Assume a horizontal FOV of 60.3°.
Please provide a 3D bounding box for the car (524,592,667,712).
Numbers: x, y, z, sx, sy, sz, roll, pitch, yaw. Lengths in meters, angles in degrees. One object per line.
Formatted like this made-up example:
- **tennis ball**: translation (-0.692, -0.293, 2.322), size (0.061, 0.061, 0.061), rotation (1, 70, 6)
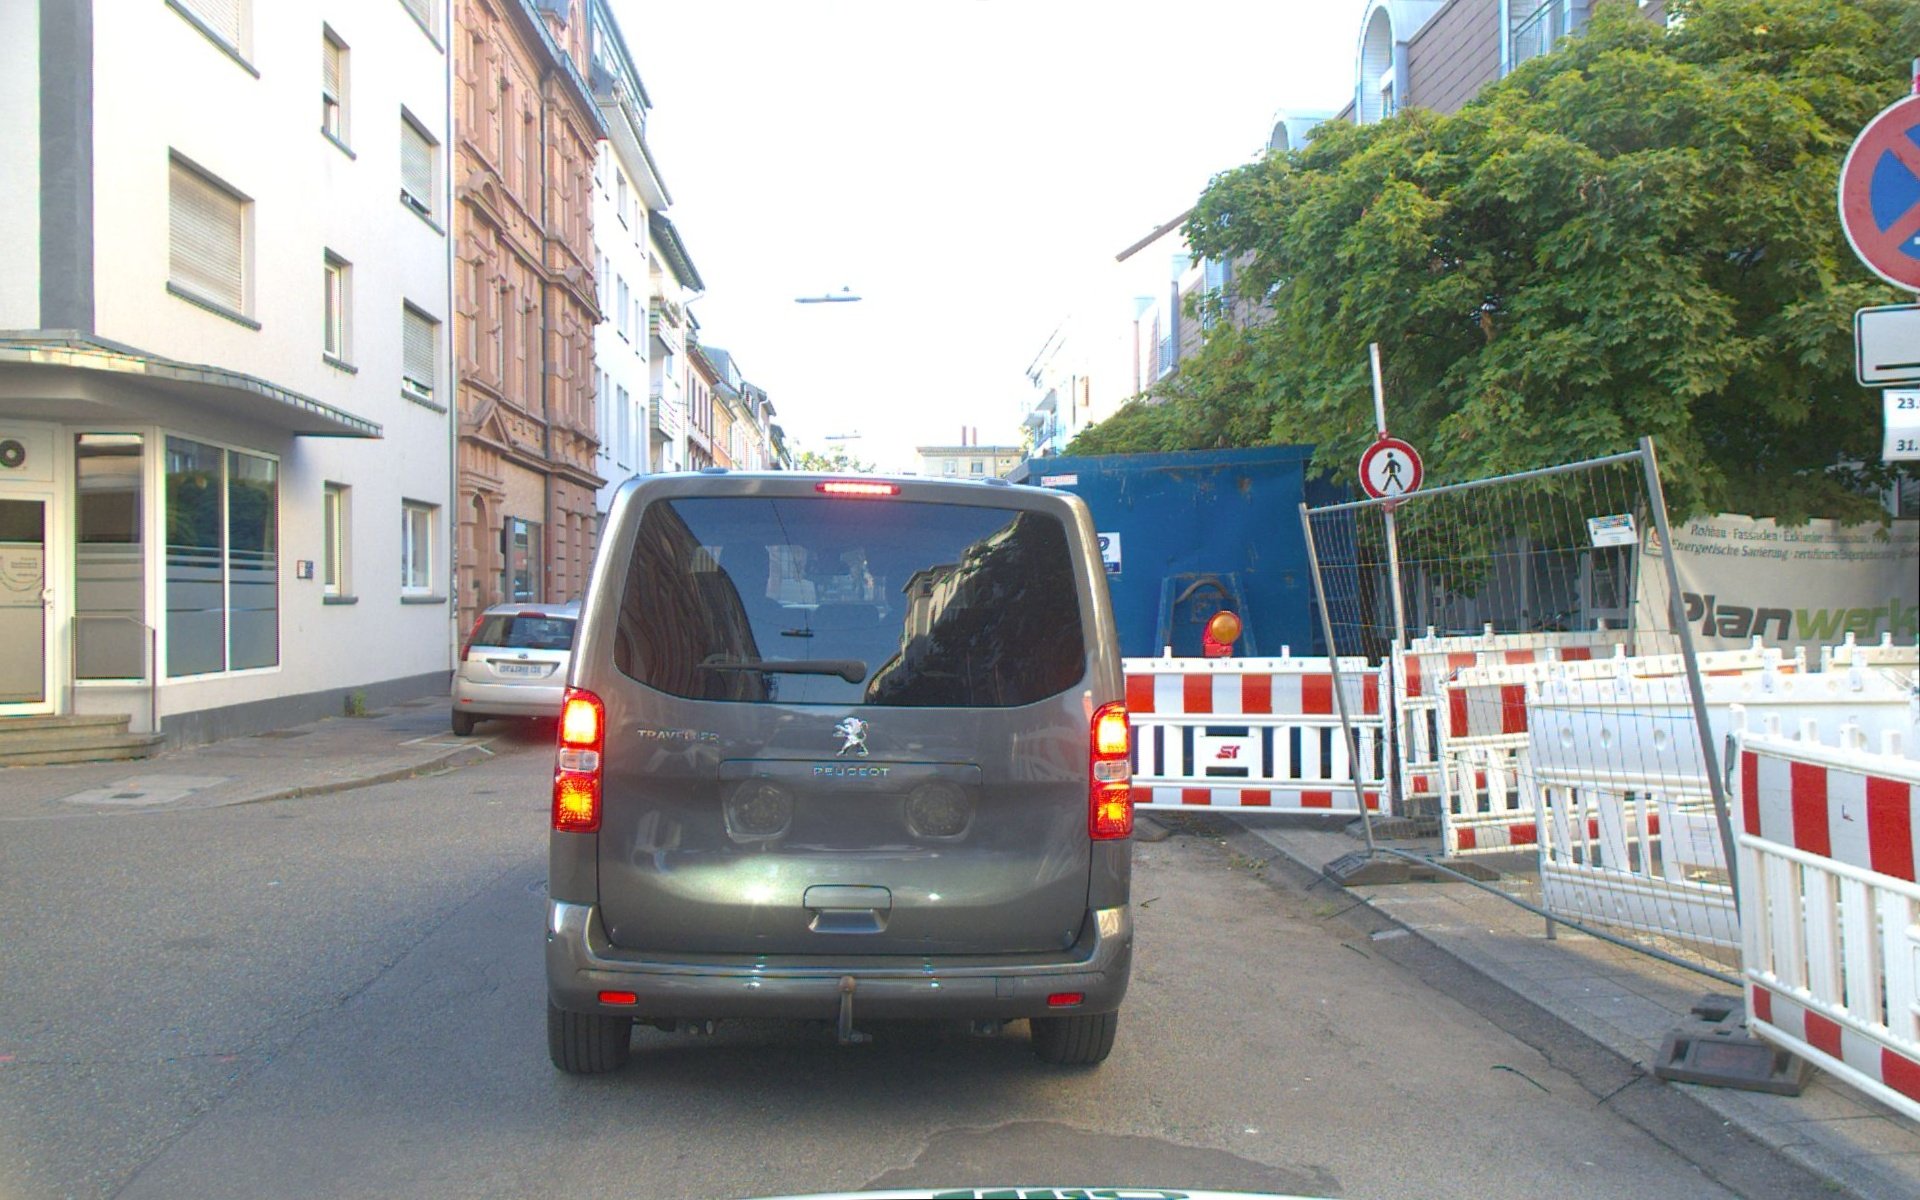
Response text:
- **car**: translation (-5.353, 0.735, 24.638), size (1.625, 1.552, 3.413), rotation (4, -1, -7)

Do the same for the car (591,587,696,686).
- **car**: translation (-6.024, 0.683, 31.711), size (1.635, 1.695, 3.087), rotation (4, -1, -7)

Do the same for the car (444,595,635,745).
- **car**: translation (-4.812, 0.765, 19.337), size (1.625, 1.485, 3.413), rotation (4, -1, -7)

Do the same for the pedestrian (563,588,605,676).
- **pedestrian**: translation (-7.405, 0.622, 32.563), size (0.726, 1.693, 0.702), rotation (-1, 0, -8)

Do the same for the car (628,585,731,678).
- **car**: translation (-5.935, 0.663, 35.357), size (1.856, 1.749, 3.748), rotation (4, -1, -7)

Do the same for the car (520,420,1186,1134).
- **car**: translation (-0.512, 0.499, 6.674), size (1.829, 1.919, 4.229), rotation (0, -1, -7)
